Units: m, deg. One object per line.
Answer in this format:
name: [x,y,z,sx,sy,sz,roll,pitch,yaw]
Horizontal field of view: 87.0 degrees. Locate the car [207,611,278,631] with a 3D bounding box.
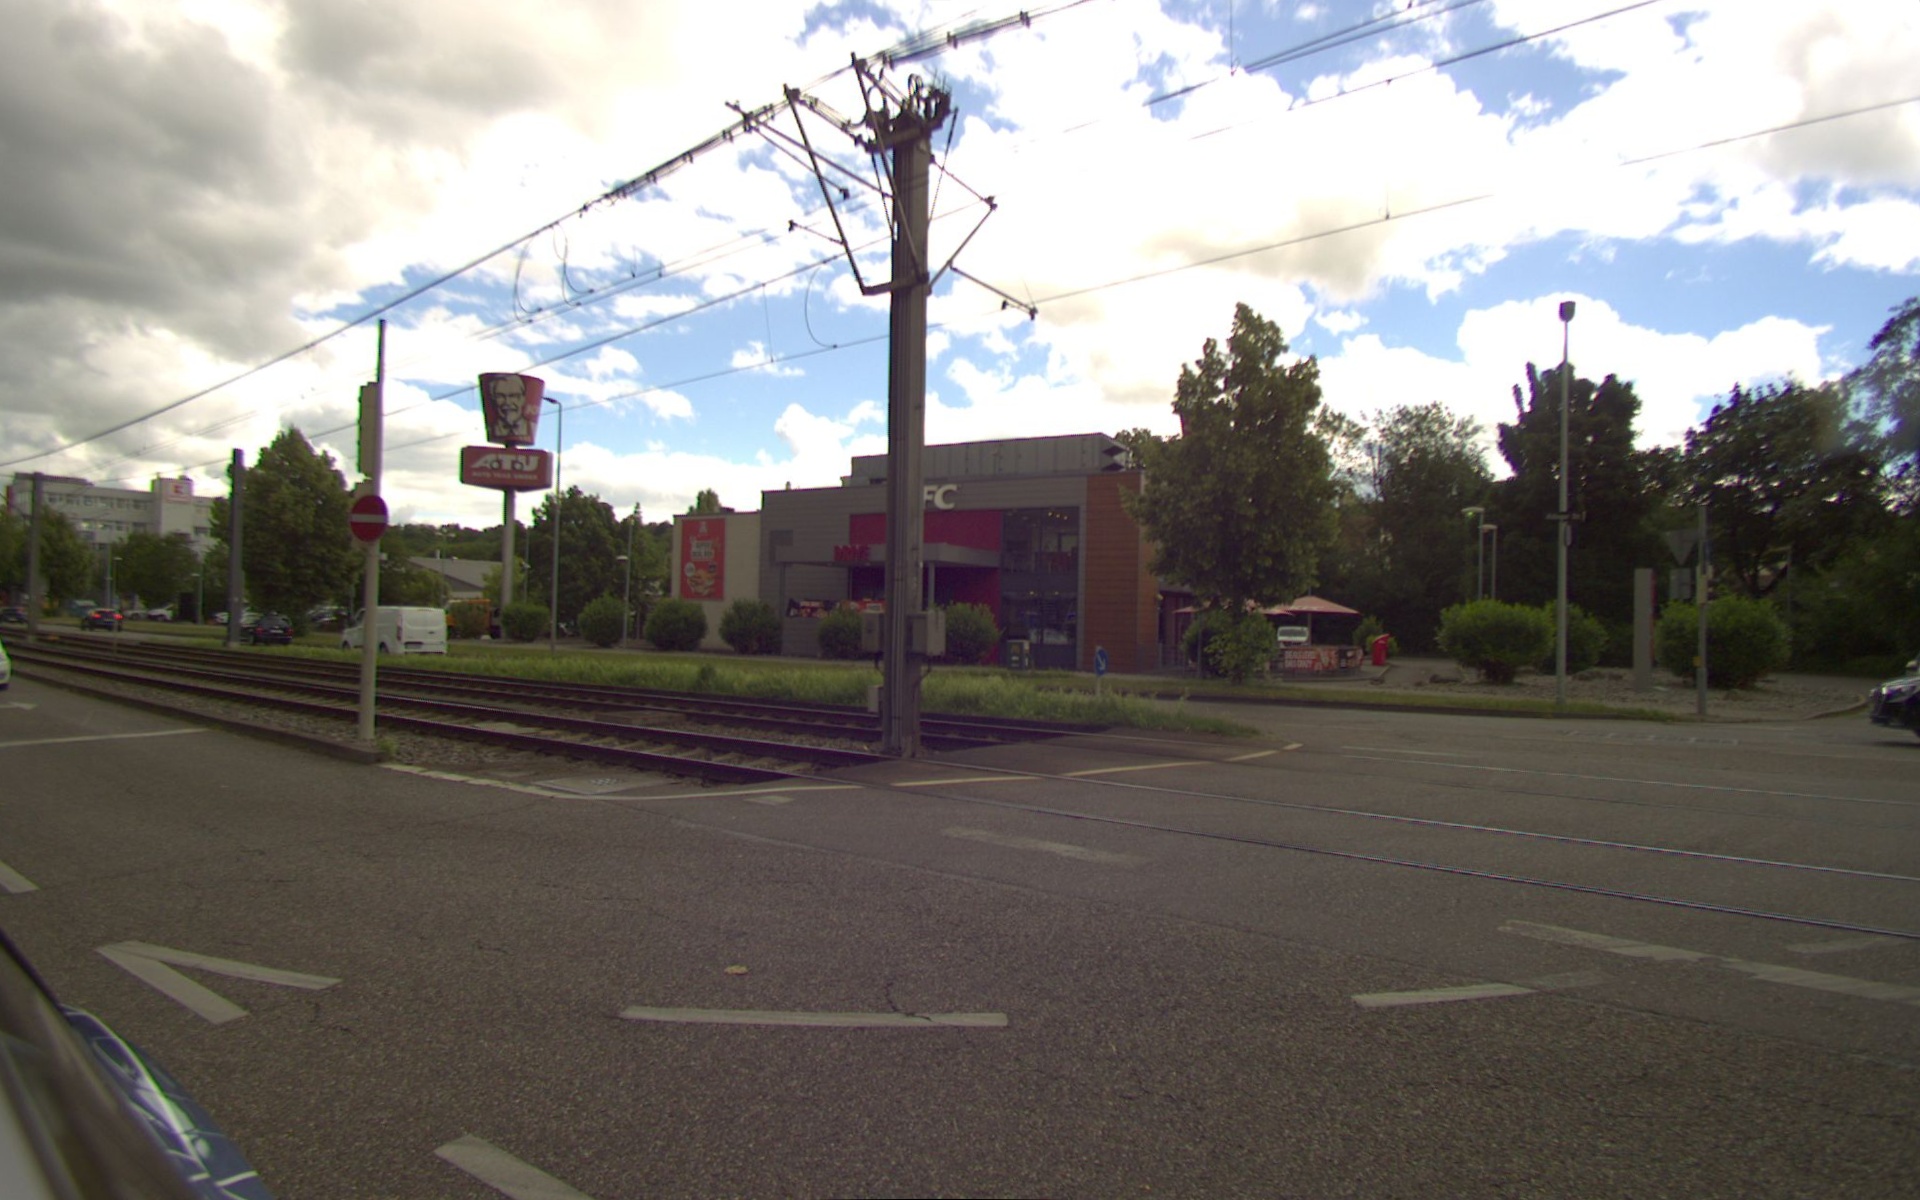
car: [-59.134,1.708,83.452,1.792,1.518,4.430,0,1,36]

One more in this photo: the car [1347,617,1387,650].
car: [26.131,2.150,64.921,1.991,2.029,3.962,-1,-2,28]

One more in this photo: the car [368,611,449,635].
car: [-34.326,1.404,63.059,2.091,1.377,3.948,0,1,39]

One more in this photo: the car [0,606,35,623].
car: [-89.003,1.355,95.424,3.995,1.494,1.974,0,-4,39]

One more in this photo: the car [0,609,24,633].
car: [-83.059,1.818,87.729,3.991,2.029,1.976,0,-4,35]

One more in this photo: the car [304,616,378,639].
car: [-42.239,1.837,69.121,1.935,1.432,3.948,0,1,39]

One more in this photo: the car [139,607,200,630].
car: [-73.993,1.704,94.757,2.000,1.933,4.299,0,1,42]

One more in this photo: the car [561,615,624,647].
car: [-25.655,2.141,70.777,1.949,2.029,3.694,0,1,37]

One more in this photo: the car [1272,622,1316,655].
car: [20.999,2.411,63.540,1.991,2.029,3.962,-1,-2,28]

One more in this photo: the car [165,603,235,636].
car: [-66.675,1.730,88.821,2.286,2.769,4.425,0,-3,39]

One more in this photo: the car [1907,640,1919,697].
car: [26.887,1.864,27.051,1.844,1.564,3.950,0,-2,37]

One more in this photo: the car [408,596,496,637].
car: [-28.802,0.892,57.448,2.056,2.182,3.948,0,1,39]

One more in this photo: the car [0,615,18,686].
car: [-21.975,1.077,21.854,3.994,1.455,1.765,0,1,38]

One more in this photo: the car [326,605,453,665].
car: [-20.683,1.240,36.660,4.872,2.029,1.977,0,-2,34]

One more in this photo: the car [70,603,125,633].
car: [-61.888,1.292,72.618,4.238,2.029,1.976,0,-2,35]

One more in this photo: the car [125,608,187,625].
car: [-80.587,1.619,101.480,2.000,1.504,4.551,0,1,42]

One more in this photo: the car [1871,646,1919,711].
car: [22.614,1.794,23.020,1.838,1.419,3.855,0,-2,27]

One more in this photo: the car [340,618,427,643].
car: [-36.666,1.907,64.454,2.193,1.364,4.331,0,1,39]

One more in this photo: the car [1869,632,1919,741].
car: [15.423,1.235,13.625,4.497,1.493,1.976,-1,-4,36]

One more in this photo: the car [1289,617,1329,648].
car: [23.642,2.178,68.463,1.991,2.029,3.962,-1,-2,28]

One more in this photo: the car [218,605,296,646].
car: [-36.302,1.327,52.230,4.098,2.029,1.976,0,-2,35]
